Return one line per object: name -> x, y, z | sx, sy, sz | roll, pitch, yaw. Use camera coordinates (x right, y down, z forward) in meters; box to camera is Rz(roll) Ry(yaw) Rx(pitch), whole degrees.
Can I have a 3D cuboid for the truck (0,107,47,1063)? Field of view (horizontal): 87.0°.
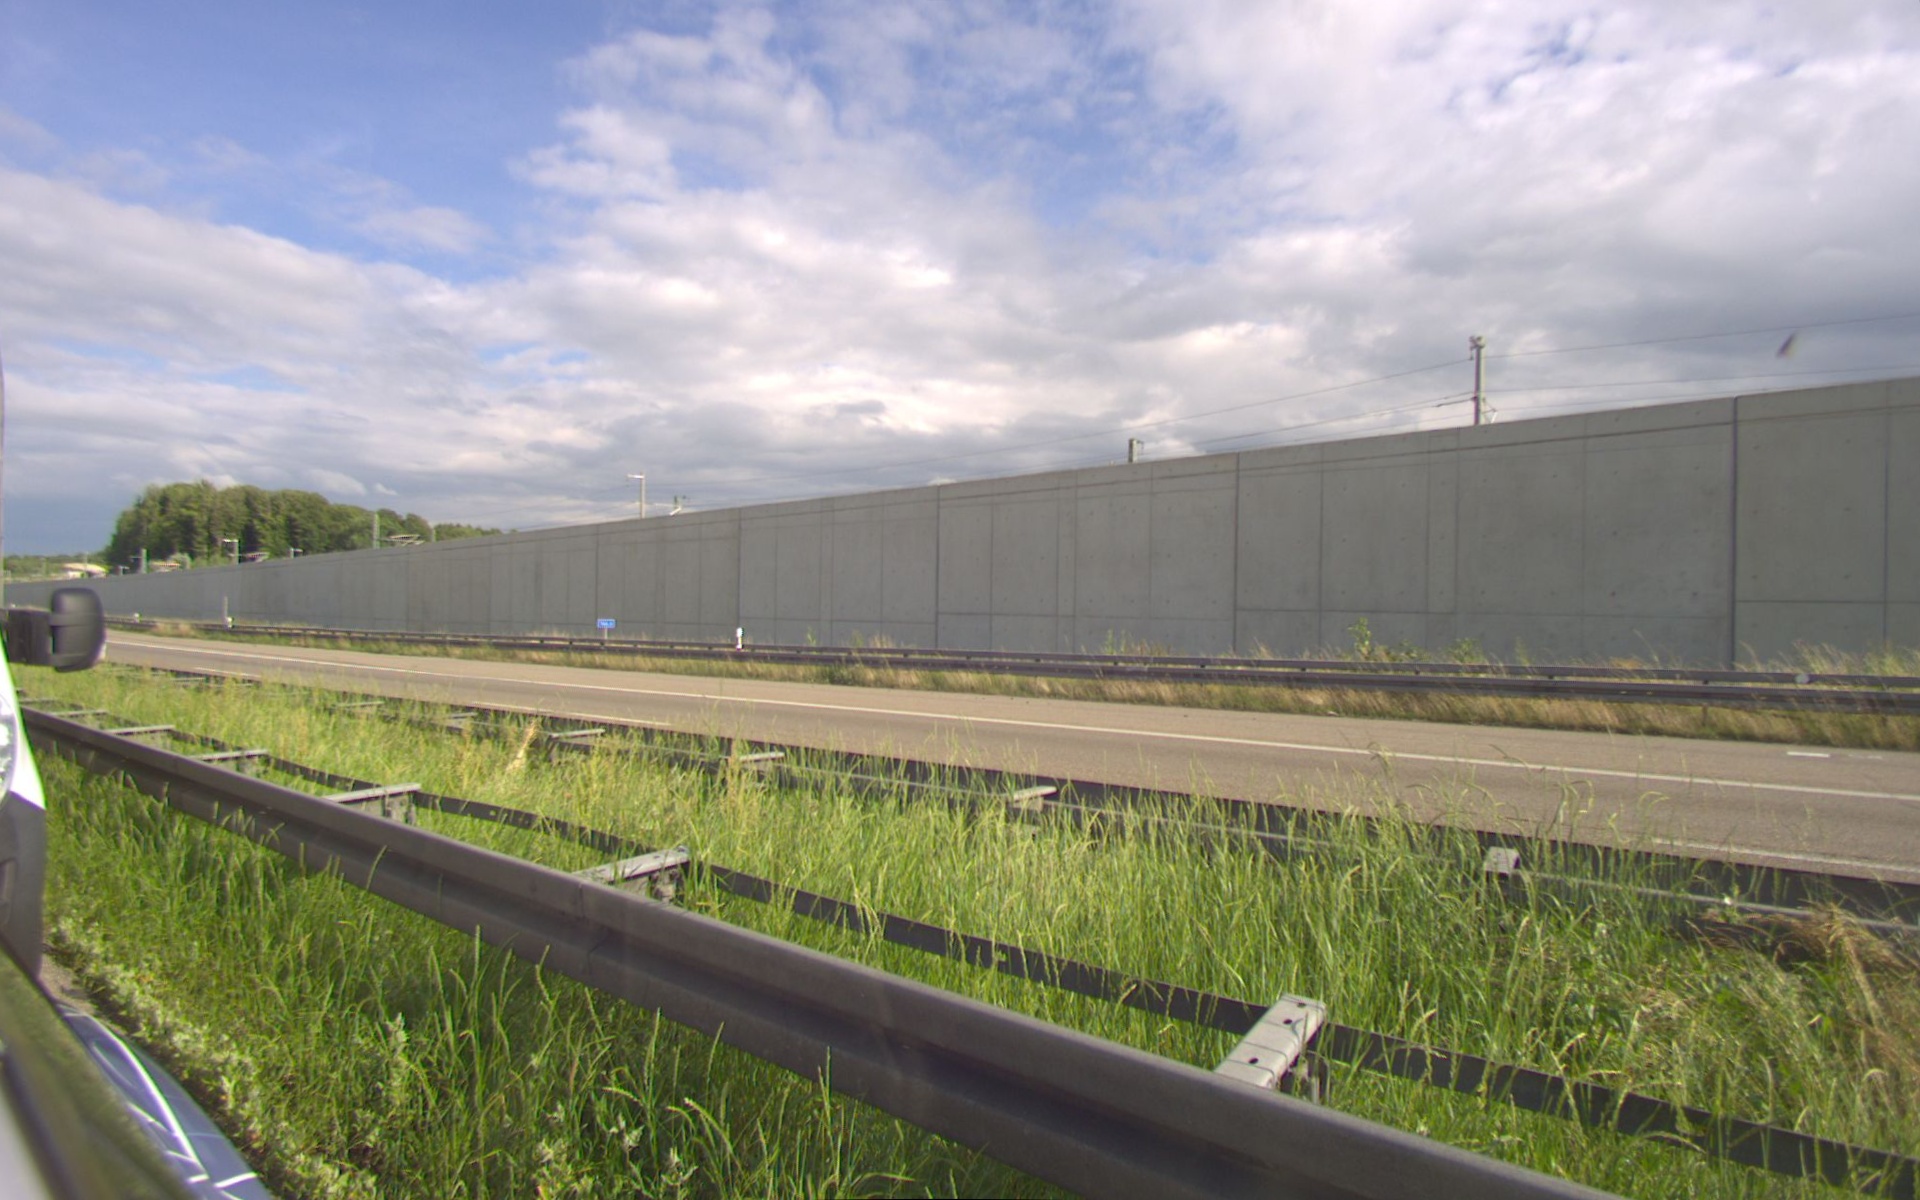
truck -> -6.661, -0.017, 5.198 | 7.800, 3.129, 2.033 | -1, 0, 41
